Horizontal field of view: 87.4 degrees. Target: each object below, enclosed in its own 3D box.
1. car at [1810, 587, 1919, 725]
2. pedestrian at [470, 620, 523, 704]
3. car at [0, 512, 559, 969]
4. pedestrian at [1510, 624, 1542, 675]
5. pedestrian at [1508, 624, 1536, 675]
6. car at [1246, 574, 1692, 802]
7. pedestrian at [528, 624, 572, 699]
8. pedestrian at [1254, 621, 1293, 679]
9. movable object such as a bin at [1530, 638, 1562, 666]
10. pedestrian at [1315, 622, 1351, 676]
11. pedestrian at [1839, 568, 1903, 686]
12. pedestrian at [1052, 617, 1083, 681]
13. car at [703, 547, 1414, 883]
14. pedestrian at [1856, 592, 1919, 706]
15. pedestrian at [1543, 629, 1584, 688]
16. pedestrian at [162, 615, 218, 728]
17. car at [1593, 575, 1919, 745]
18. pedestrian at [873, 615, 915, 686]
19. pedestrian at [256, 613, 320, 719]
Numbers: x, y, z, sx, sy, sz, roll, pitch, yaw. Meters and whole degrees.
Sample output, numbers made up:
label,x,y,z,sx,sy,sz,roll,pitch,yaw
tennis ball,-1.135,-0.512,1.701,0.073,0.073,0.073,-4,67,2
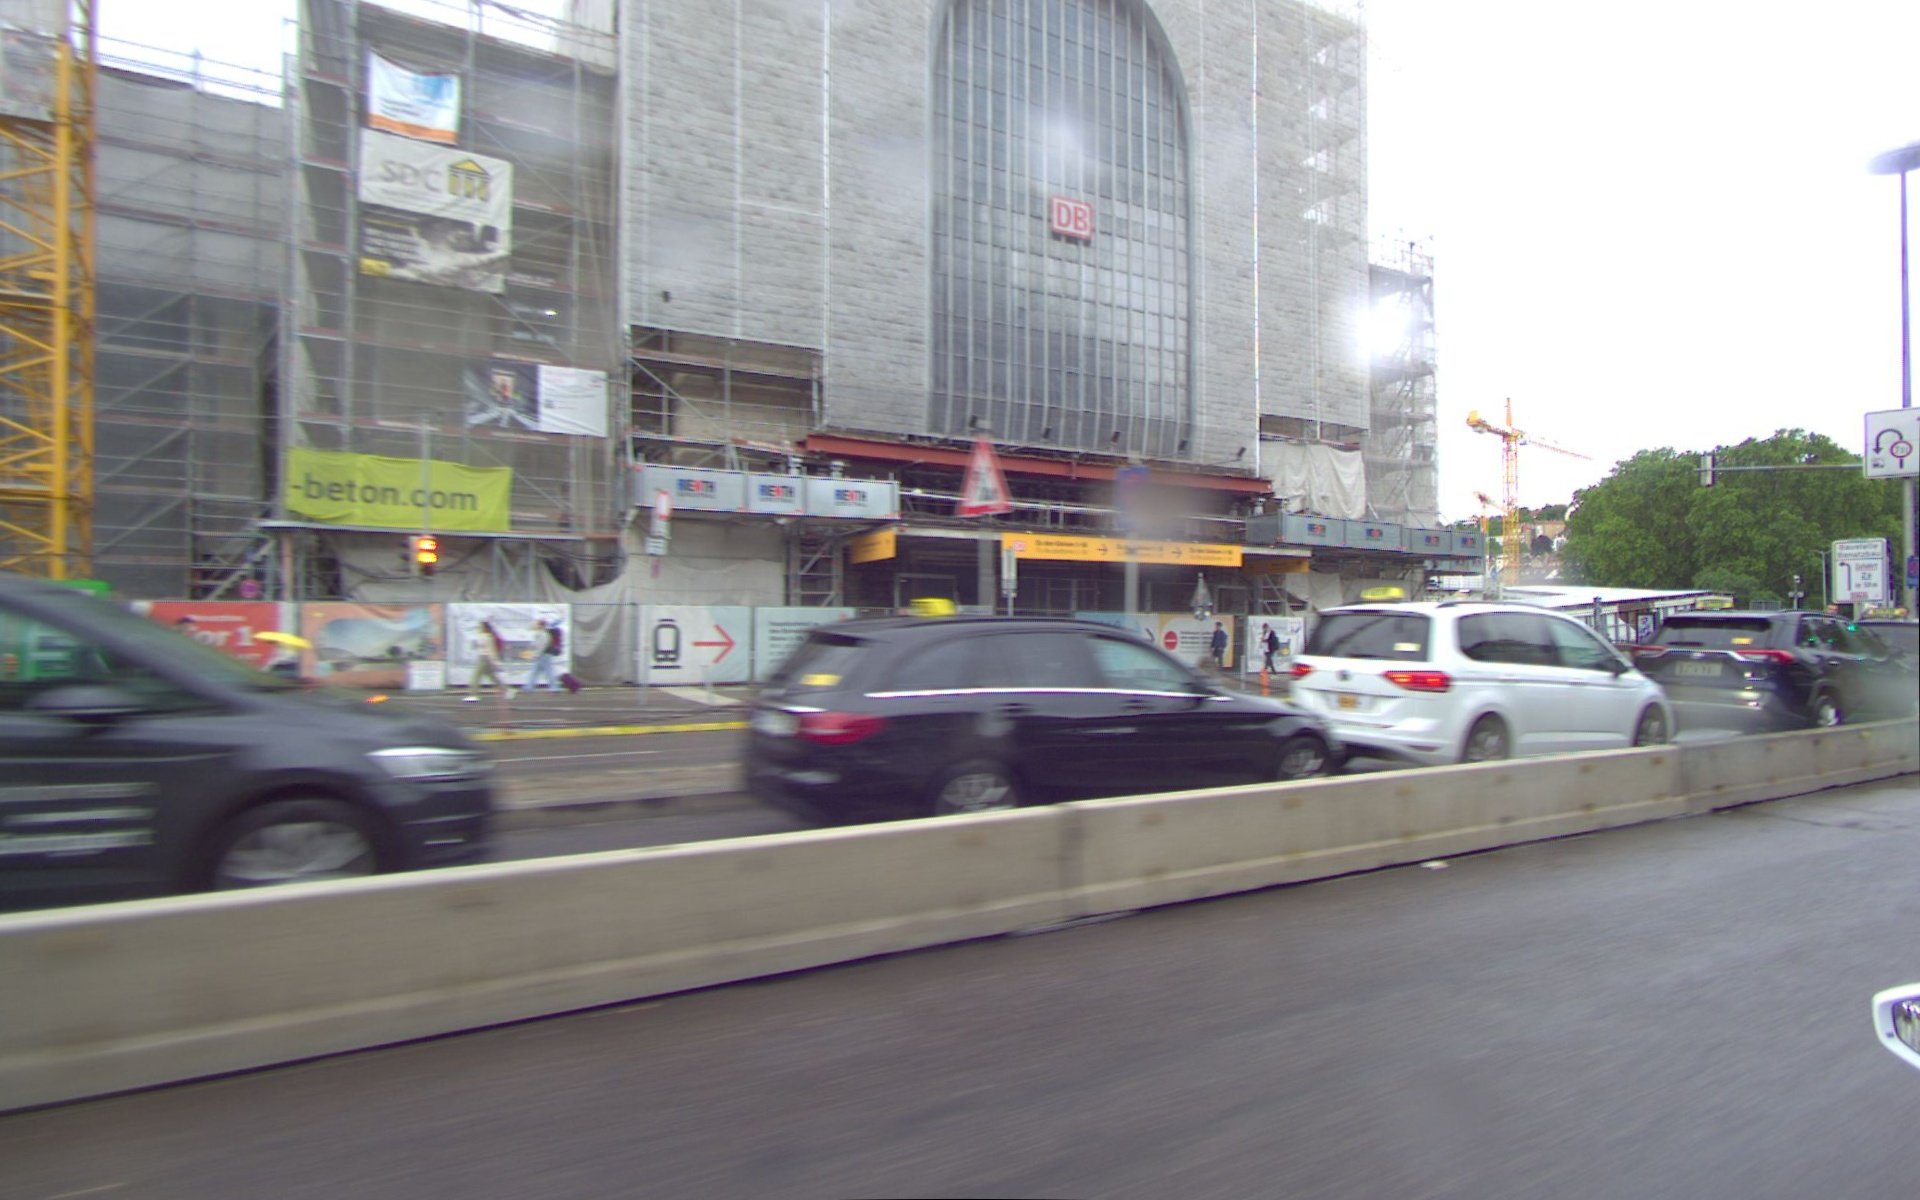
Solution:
label,x,y,z,sx,sy,sz,roll,pitch,yaw
car,15.146,0.836,15.479,4.556,1.917,1.706,1,-2,-30
pedestrian,-9.711,1.282,21.037,0.833,1.708,0.675,1,-1,-43
car,-4.343,0.532,4.358,4.588,1.675,1.984,1,-2,-31
pedestrian,21.046,1.822,37.337,0.868,1.865,0.694,2,-1,-31
pedestrian,20.570,1.802,36.766,0.522,1.865,0.694,1,-2,-31
car,5.142,0.771,10.025,4.404,1.810,1.983,1,-2,-32
pedestrian,-9.107,1.353,22.301,0.828,1.635,0.674,1,-1,-27
pedestrian,10.232,1.624,32.799,0.926,1.865,0.815,1,-2,-30
movable object such as a bin,21.395,1.890,36.694,0.713,0.983,0.755,1,-2,-31
pedestrian,12.993,1.697,34.995,0.982,1.865,0.723,1,-2,-30
pedestrian,16.221,0.473,17.894,0.826,2.040,0.618,1,-1,-31
pedestrian,3.194,1.449,29.807,0.763,1.865,0.533,1,-1,-32
car,0.873,0.669,7.373,4.997,1.734,2.039,1,-2,-31
pedestrian,17.237,0.884,18.344,1.007,2.040,0.837,0,-1,8
pedestrian,17.693,1.706,29.431,0.827,1.686,0.710,1,-2,-30
pedestrian,-13.075,1.191,17.064,0.697,1.865,0.504,1,-1,-35
car,10.387,0.712,12.796,4.792,1.810,1.984,1,-2,-31
pedestrian,-1.796,1.355,27.213,0.829,1.865,0.764,1,-1,-43
pedestrian,-12.221,1.172,18.264,0.832,1.865,0.867,1,-1,-43
